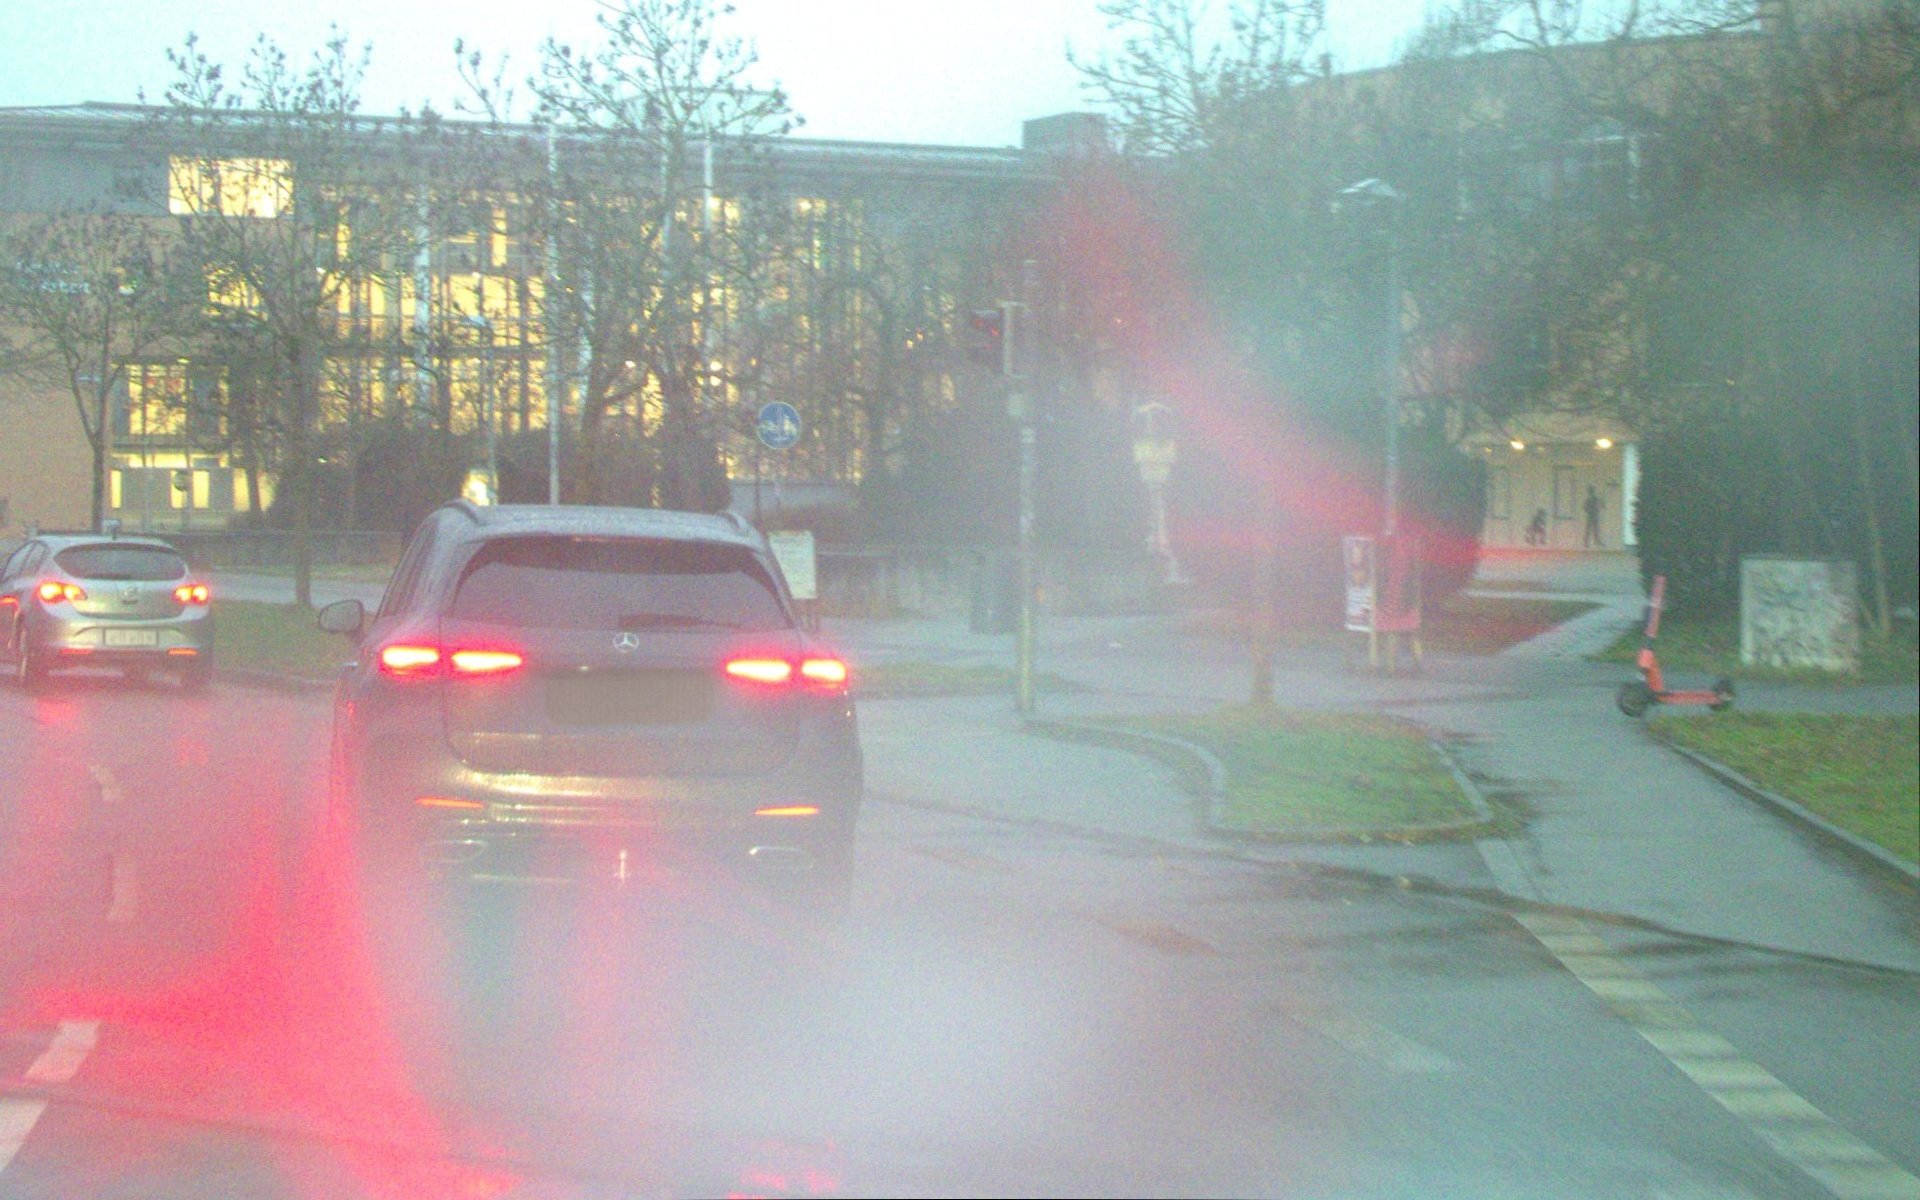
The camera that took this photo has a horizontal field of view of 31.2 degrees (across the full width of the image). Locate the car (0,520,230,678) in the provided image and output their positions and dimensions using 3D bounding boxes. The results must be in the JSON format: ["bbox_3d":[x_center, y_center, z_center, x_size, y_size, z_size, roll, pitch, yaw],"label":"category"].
[{"bbox_3d":[-8.635,-0.060,33.956,1.993,1.403,4.001,-1,2,-24],"label":"car"}]

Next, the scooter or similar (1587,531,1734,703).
[{"bbox_3d":[5.201,0.110,25.513,1.142,1.227,0.487,-2,3,-42],"label":"scooter or similar"}]

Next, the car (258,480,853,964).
[{"bbox_3d":[-1.603,0.339,13.660,1.990,1.610,4.001,-1,2,-7],"label":"car"}]
